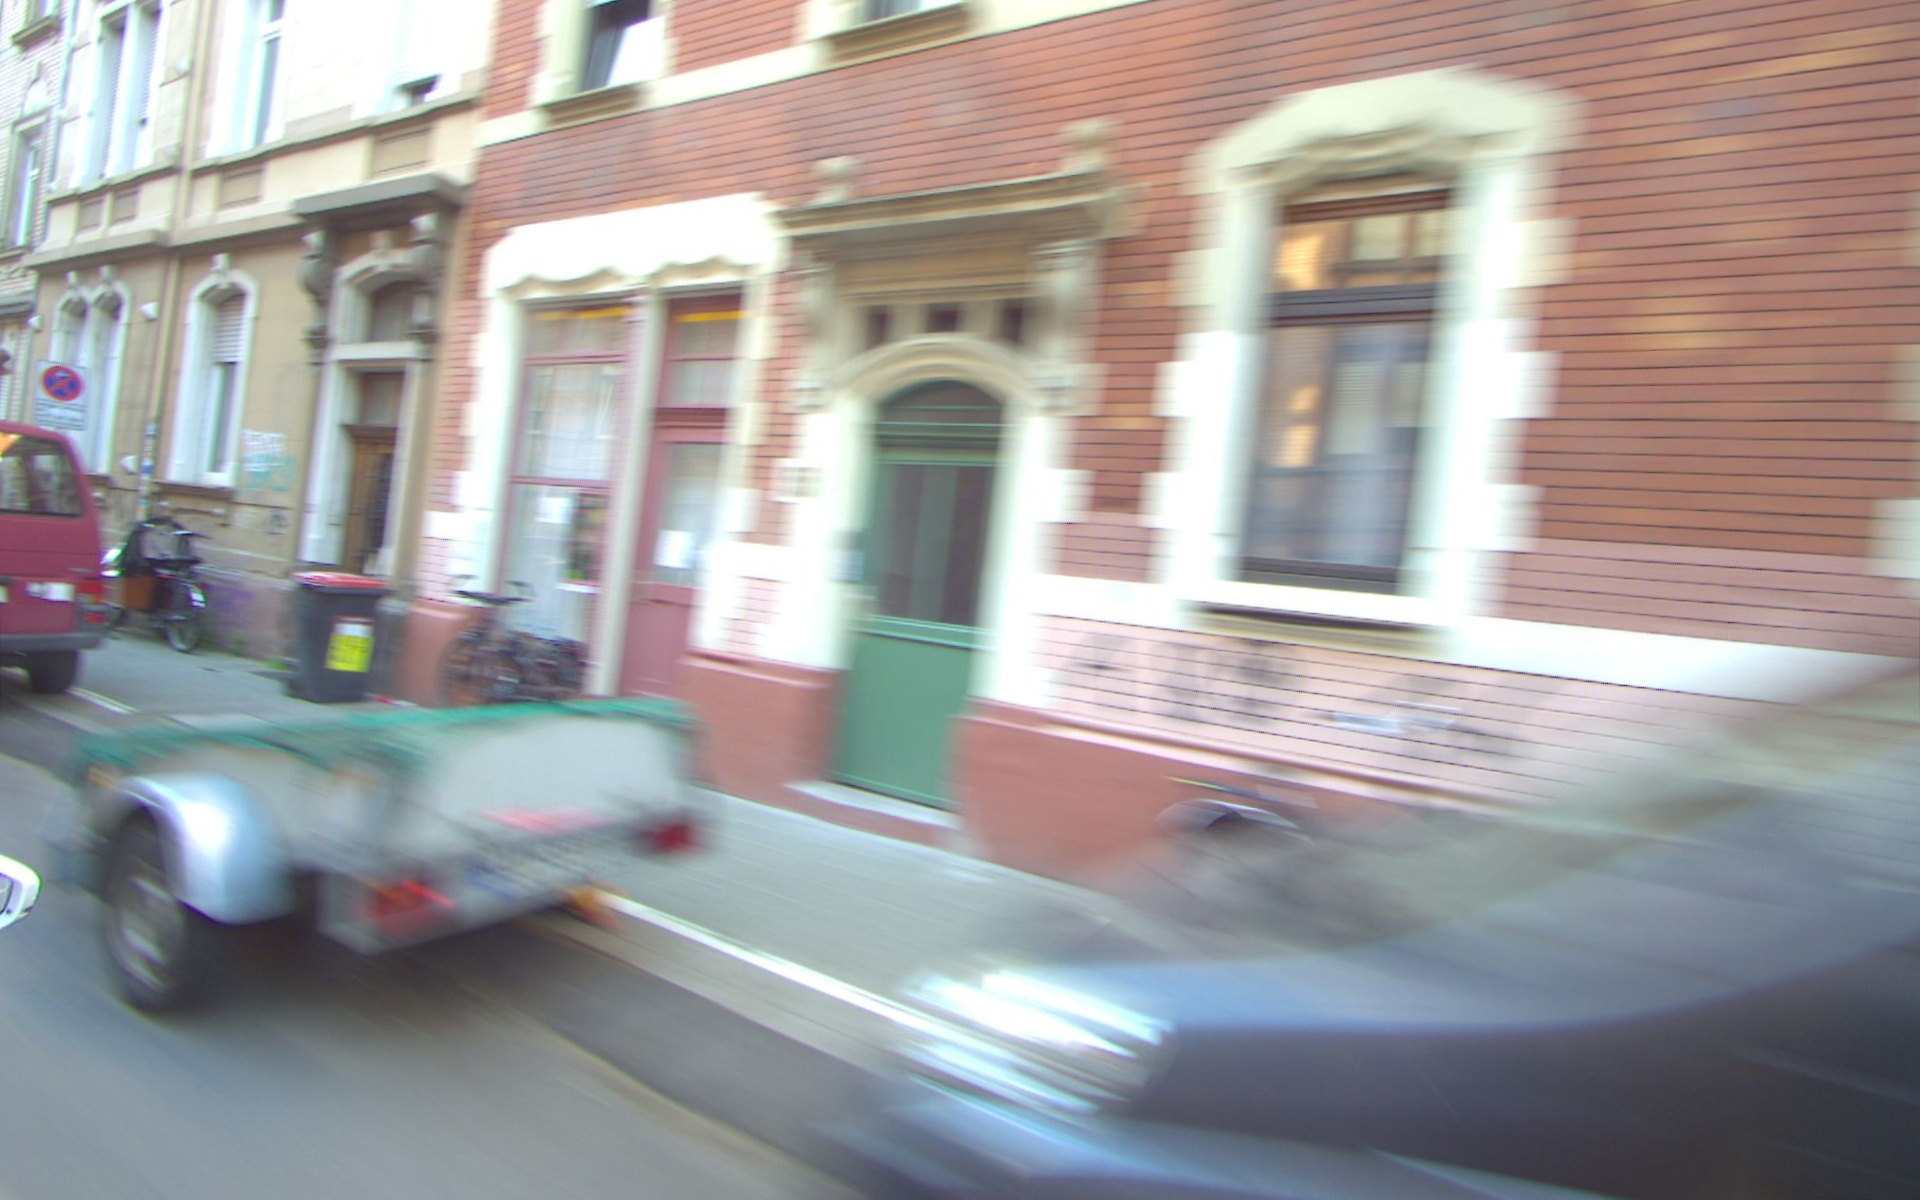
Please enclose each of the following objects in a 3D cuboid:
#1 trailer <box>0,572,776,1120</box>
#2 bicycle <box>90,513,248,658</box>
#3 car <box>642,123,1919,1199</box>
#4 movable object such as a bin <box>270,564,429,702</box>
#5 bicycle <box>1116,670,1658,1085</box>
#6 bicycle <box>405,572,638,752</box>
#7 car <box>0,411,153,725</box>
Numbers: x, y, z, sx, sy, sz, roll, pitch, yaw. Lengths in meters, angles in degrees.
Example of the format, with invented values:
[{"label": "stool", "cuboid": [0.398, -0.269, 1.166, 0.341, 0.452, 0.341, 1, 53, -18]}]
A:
[{"label": "trailer", "cuboid": [-2.431, 0.685, 3.920, 2.987, 1.124, 1.510, 7, -4, 30]}, {"label": "bicycle", "cuboid": [-8.277, -0.169, 10.507, 1.664, 1.321, 0.727, 7, 3, 32]}, {"label": "car", "cuboid": [1.969, 0.815, 1.076, 4.499, 2.005, 1.850, 7, -3, 31]}, {"label": "movable object such as a bin", "cuboid": [-5.300, 0.277, 8.762, 0.710, 1.075, 0.896, 7, 2, 29]}, {"label": "bicycle", "cuboid": [1.777, 1.057, 4.409, 1.959, 1.239, 0.668, 6, 2, 32]}, {"label": "bicycle", "cuboid": [-3.533, 0.442, 8.049, 1.866, 1.137, 0.701, 7, 4, 31]}, {"label": "car", "cuboid": [-8.345, -0.458, 7.624, 4.663, 2.036, 1.836, 7, -2, 32]}]
